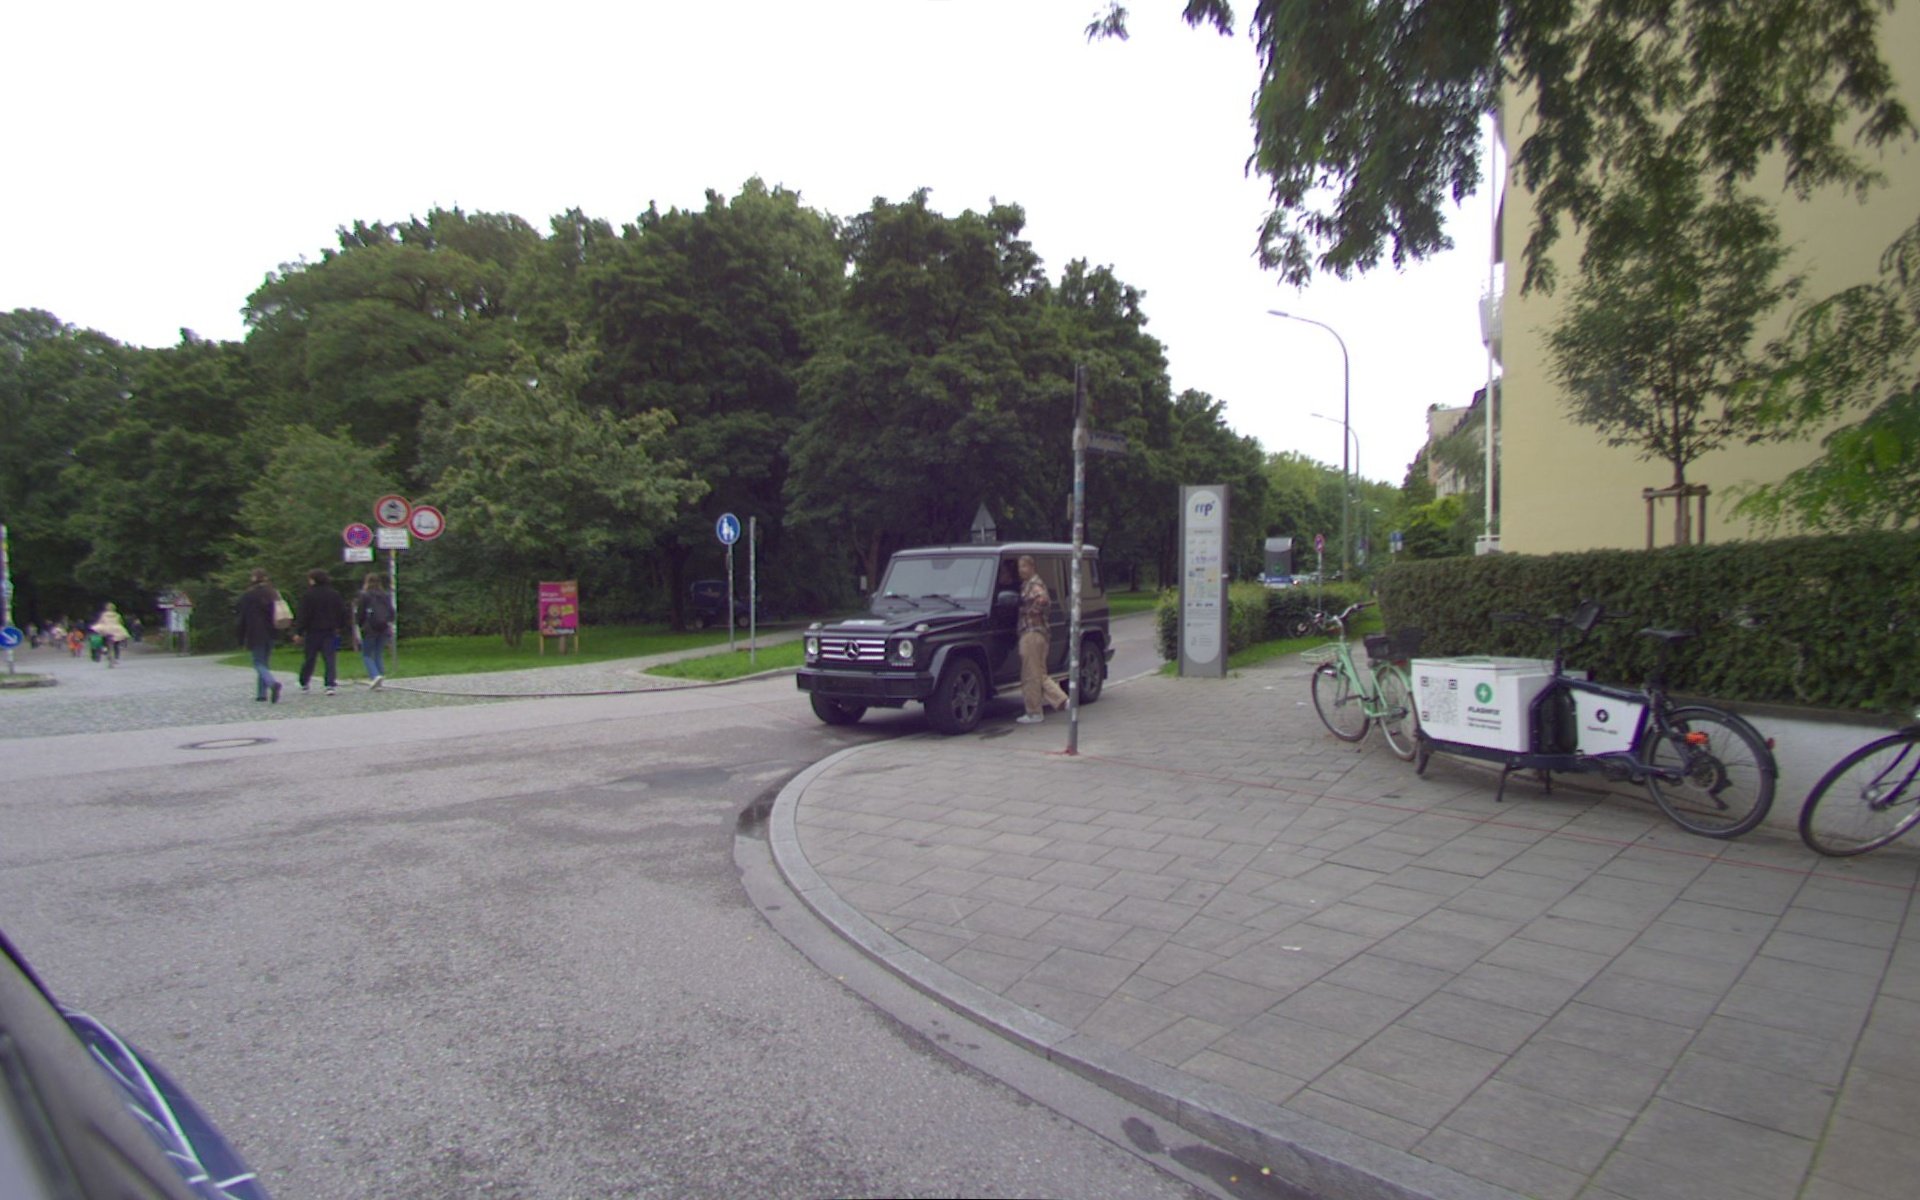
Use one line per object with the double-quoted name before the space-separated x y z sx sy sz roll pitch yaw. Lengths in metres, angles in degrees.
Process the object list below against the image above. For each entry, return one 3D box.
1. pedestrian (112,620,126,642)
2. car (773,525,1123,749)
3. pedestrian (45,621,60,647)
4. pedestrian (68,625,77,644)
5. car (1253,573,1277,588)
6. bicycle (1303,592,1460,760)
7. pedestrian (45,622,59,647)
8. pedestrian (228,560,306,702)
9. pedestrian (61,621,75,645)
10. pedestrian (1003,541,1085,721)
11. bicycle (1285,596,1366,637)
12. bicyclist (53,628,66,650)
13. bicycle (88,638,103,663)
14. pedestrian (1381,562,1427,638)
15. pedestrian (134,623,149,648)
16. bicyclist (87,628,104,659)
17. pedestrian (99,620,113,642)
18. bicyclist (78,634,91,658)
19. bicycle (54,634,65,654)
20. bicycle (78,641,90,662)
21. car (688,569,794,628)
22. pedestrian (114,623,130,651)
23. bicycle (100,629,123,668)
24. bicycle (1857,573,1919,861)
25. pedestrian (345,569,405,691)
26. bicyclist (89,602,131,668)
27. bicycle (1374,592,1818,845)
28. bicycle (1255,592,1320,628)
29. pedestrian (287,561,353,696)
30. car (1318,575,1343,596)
"pedestrian" -67.913 2.495 81.704 0.731 1.685 0.922 -3 -1 -42
"car" 0.090 0.276 11.512 1.930 2.016 4.372 1 2 32
"pedestrian" -61.124 2.315 68.171 0.676 1.685 0.774 -3 -1 -42
"pedestrian" -61.800 2.414 70.466 0.464 1.275 0.448 -1 2 -43
"car" 30.569 -1.951 101.450 1.737 1.400 3.939 1 2 25
"bicycle" 3.290 0.531 8.088 0.576 1.165 1.948 -3 0 6
"pedestrian" -63.469 2.412 70.747 0.676 1.685 0.774 -3 -1 -42
"pedestrian" -9.477 0.416 13.832 0.740 1.847 1.116 0 -2 -42
"pedestrian" -63.948 2.362 72.557 0.676 1.685 0.774 -3 -1 -42
"pedestrian" 0.874 0.313 10.633 0.551 1.812 0.642 -2 -1 -25
"bicycle" 8.758 0.393 24.265 1.812 0.954 0.383 0 1 -1
"bicyclist" -54.997 2.377 61.811 0.556 1.275 0.763 -1 2 -42
"bicycle" -39.342 2.301 46.074 0.457 1.068 1.763 -1 -2 -42
"pedestrian" 10.112 -0.016 23.044 0.827 1.689 0.682 1 2 36
"pedestrian" -57.043 2.462 70.548 0.676 1.685 0.774 -3 -1 -42
"bicyclist" -39.377 1.962 46.083 0.556 1.385 0.762 -1 -2 -42
"pedestrian" -68.528 2.506 81.191 0.731 1.685 0.922 -3 -1 -42
"bicyclist" -49.481 2.573 57.198 0.556 1.275 0.763 -1 2 -42
"bicycle" -55.035 2.703 61.845 0.457 1.067 1.764 -1 3 -42
"bicycle" -49.506 2.891 57.216 0.457 1.067 1.764 -1 3 -42
"car" -8.516 -0.088 39.503 3.903 2.120 1.910 -2 2 -12
"pedestrian" -52.670 2.343 63.642 0.676 1.685 0.774 -3 -1 -42
"bicycle" -24.338 1.386 29.042 0.476 1.049 1.949 -1 0 -40
"bicycle" 4.763 0.496 3.928 0.555 1.219 1.857 -2 2 -40
"pedestrian" -8.900 0.460 15.393 0.625 1.795 0.802 0 -2 -42
"bicyclist" -24.325 0.982 28.972 0.844 1.816 0.767 -2 1 -42
"bicycle" 3.462 0.541 5.853 0.573 1.134 2.305 -3 2 -19
"bicycle" 9.368 0.290 28.958 1.740 0.991 0.361 1 1 21
"pedestrian" -9.469 0.418 14.968 0.697 1.918 0.804 0 -2 -42
"car" 26.805 -1.070 73.144 1.618 1.430 3.766 1 2 22
